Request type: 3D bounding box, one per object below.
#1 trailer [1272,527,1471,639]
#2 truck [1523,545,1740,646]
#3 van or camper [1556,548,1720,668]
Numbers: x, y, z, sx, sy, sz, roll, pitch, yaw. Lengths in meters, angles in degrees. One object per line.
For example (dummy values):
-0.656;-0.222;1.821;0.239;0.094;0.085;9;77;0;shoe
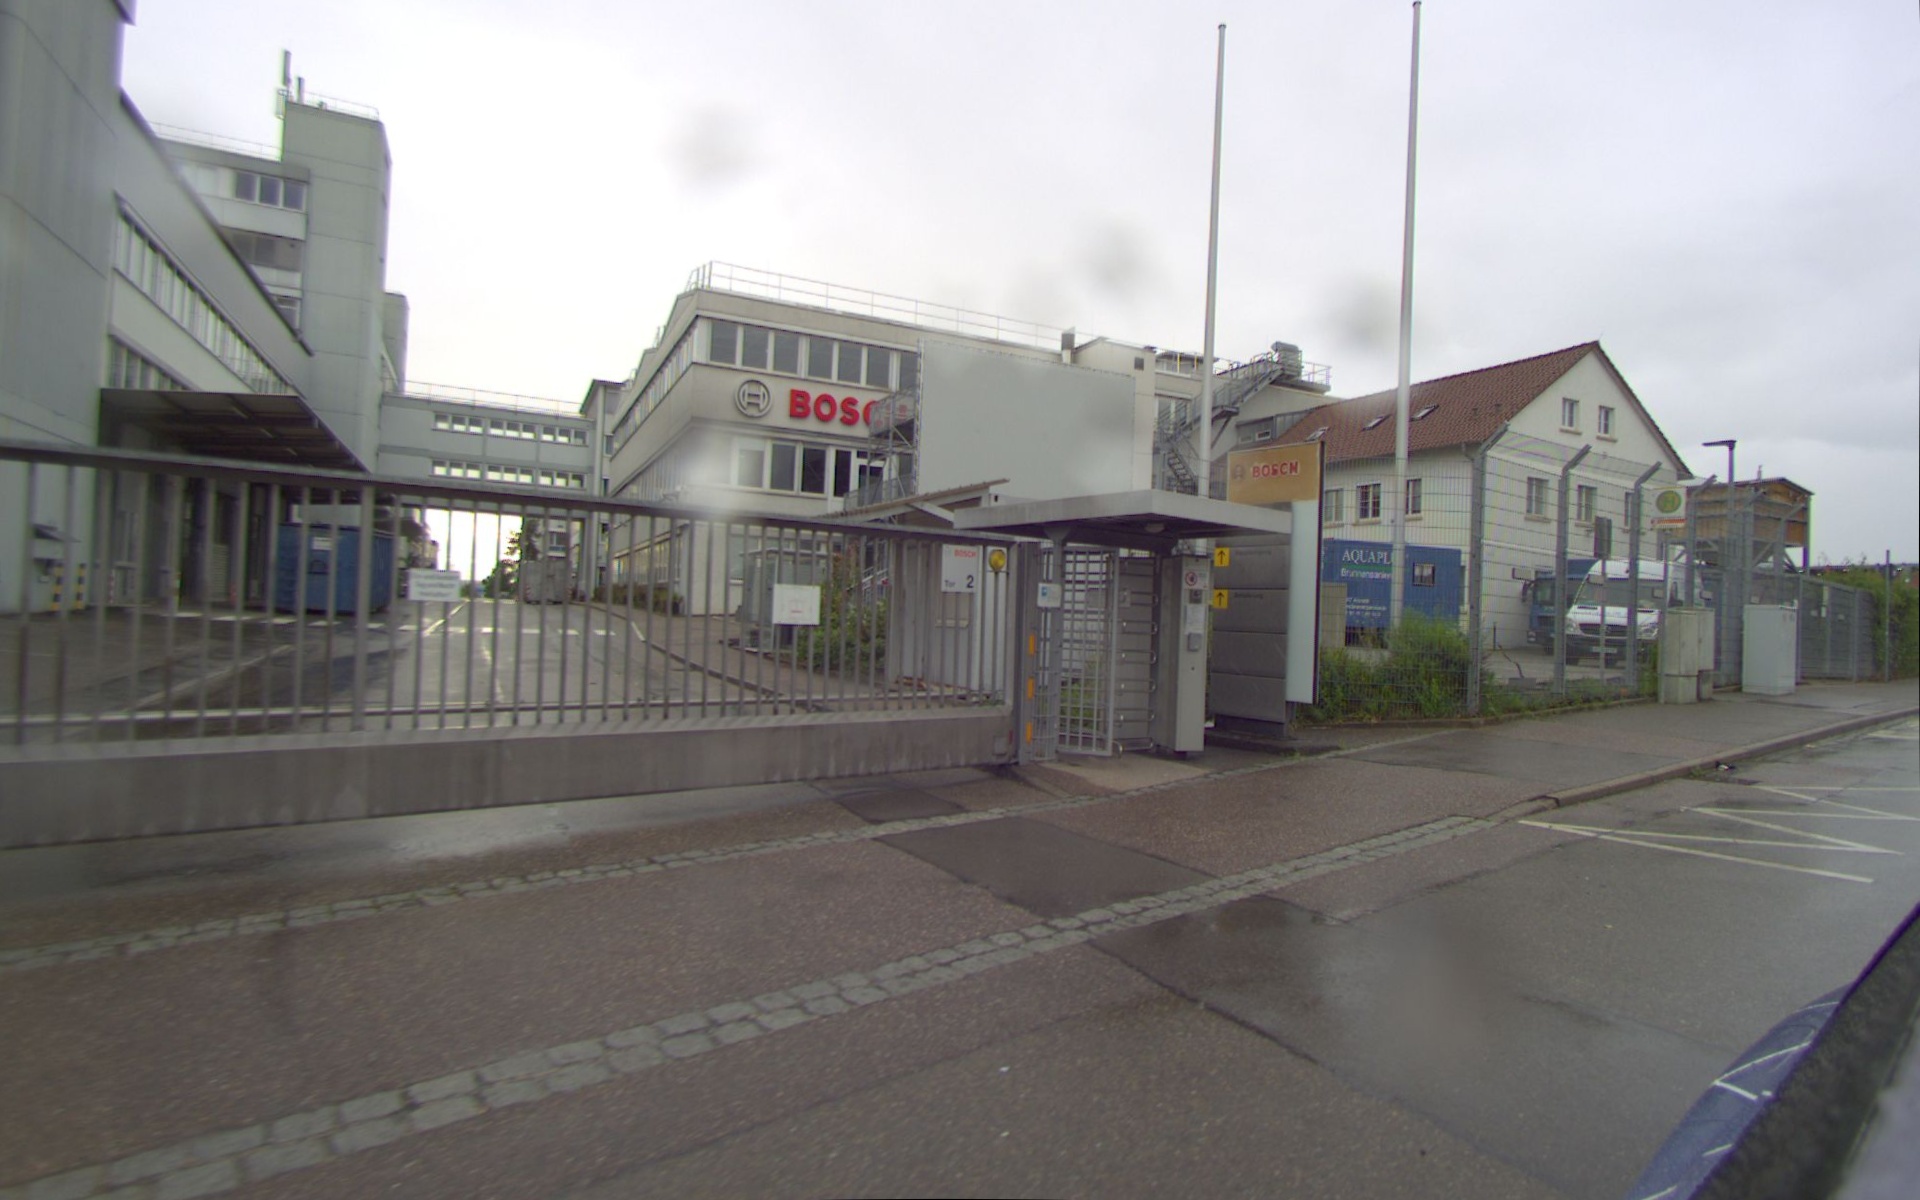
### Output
11.528;-0.446;28.475;4.534;2.929;2.640;-1;-2;-21;trailer
21.675;-0.115;32.610;6.982;3.006;2.332;1;1;-23;truck
16.157;0.145;23.957;5.710;2.526;2.086;1;1;-45;van or camper
